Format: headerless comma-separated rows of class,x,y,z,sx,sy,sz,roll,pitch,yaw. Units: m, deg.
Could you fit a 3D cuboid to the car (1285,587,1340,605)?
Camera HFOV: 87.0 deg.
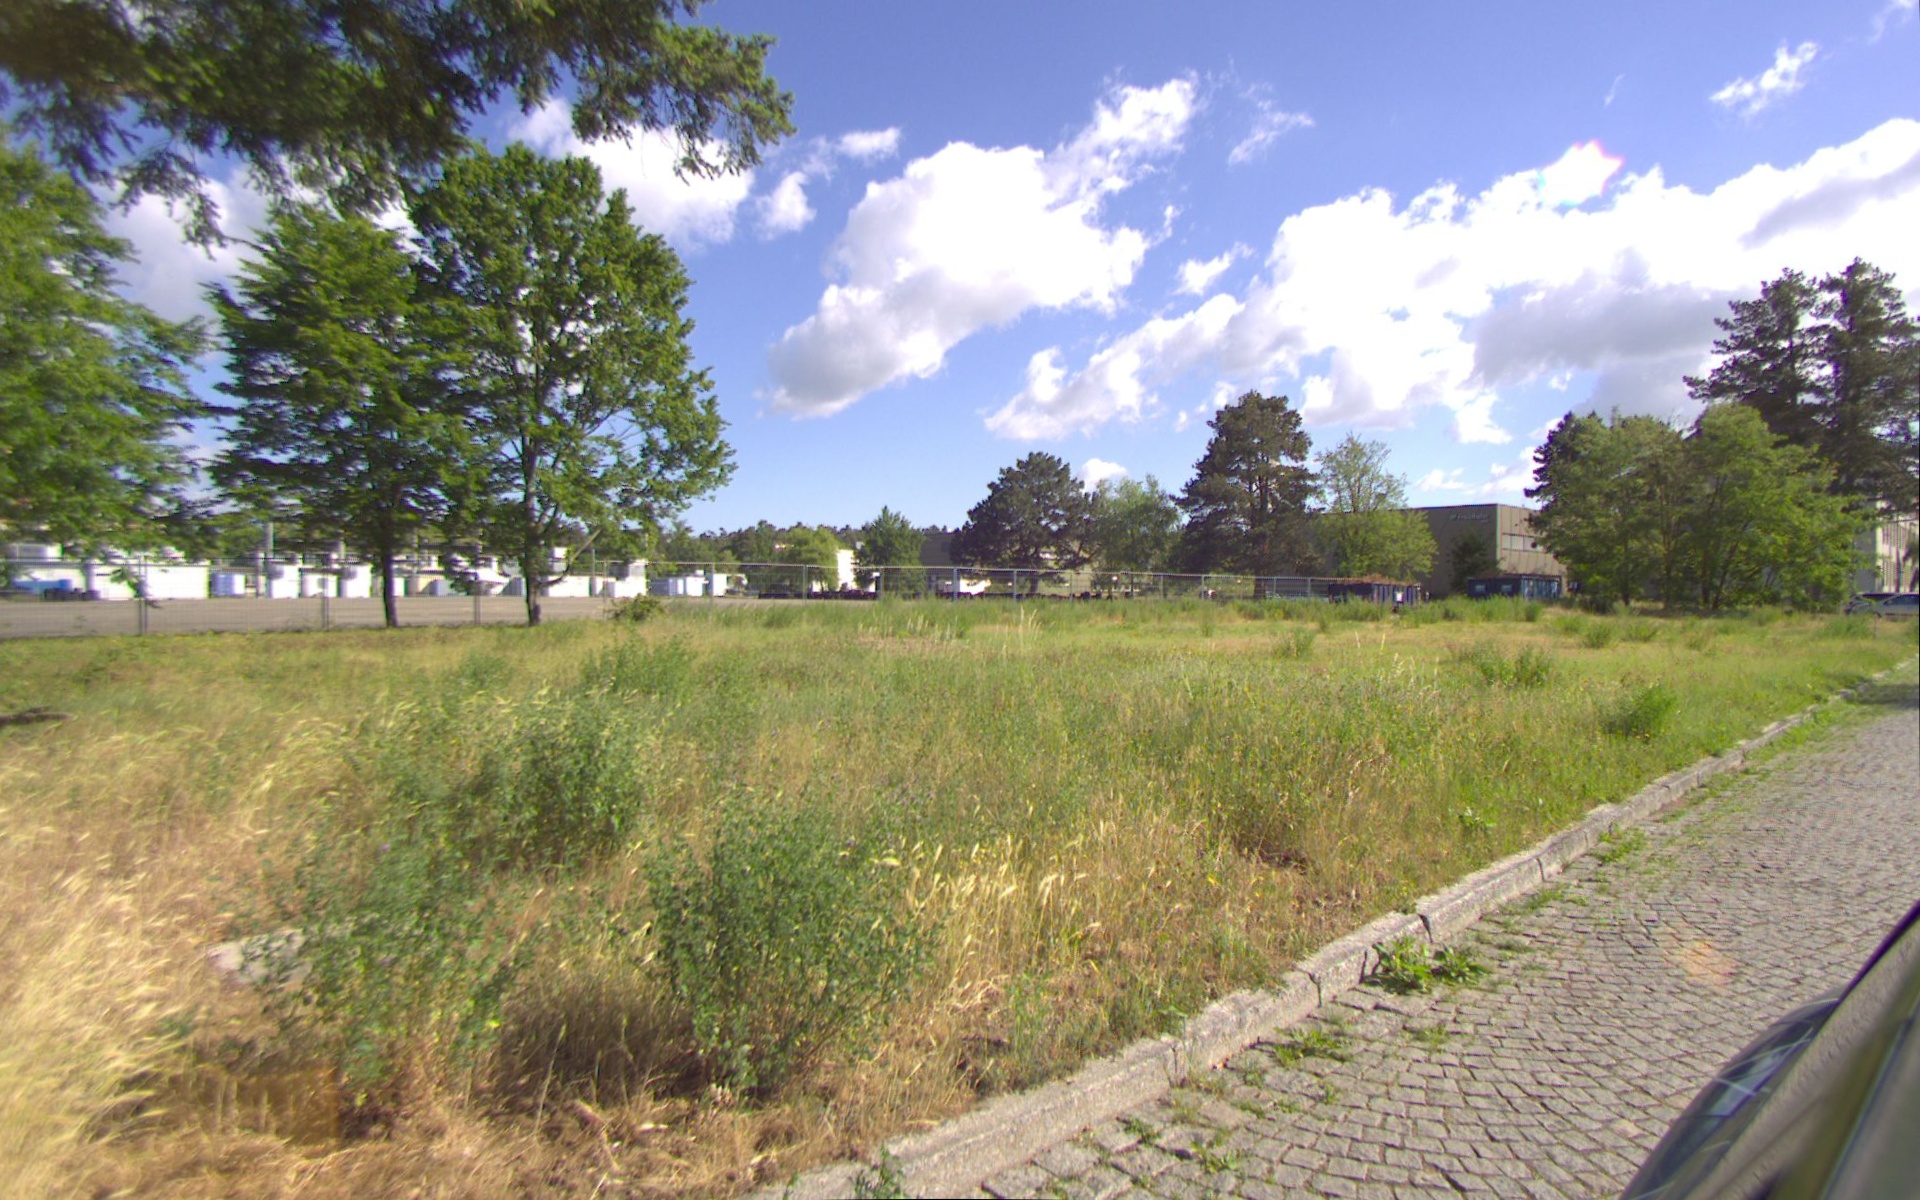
car,29.234,-0.317,83.996,1.715,1.440,3.992,2,0,-42

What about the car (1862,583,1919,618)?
car,43.412,0.079,45.573,1.813,1.458,4.010,0,3,-43

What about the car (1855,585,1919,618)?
car,46.834,0.095,49.463,1.809,1.482,4.517,-1,3,-44

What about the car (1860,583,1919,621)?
car,41.485,0.130,43.680,1.723,1.494,3.745,0,4,-43
